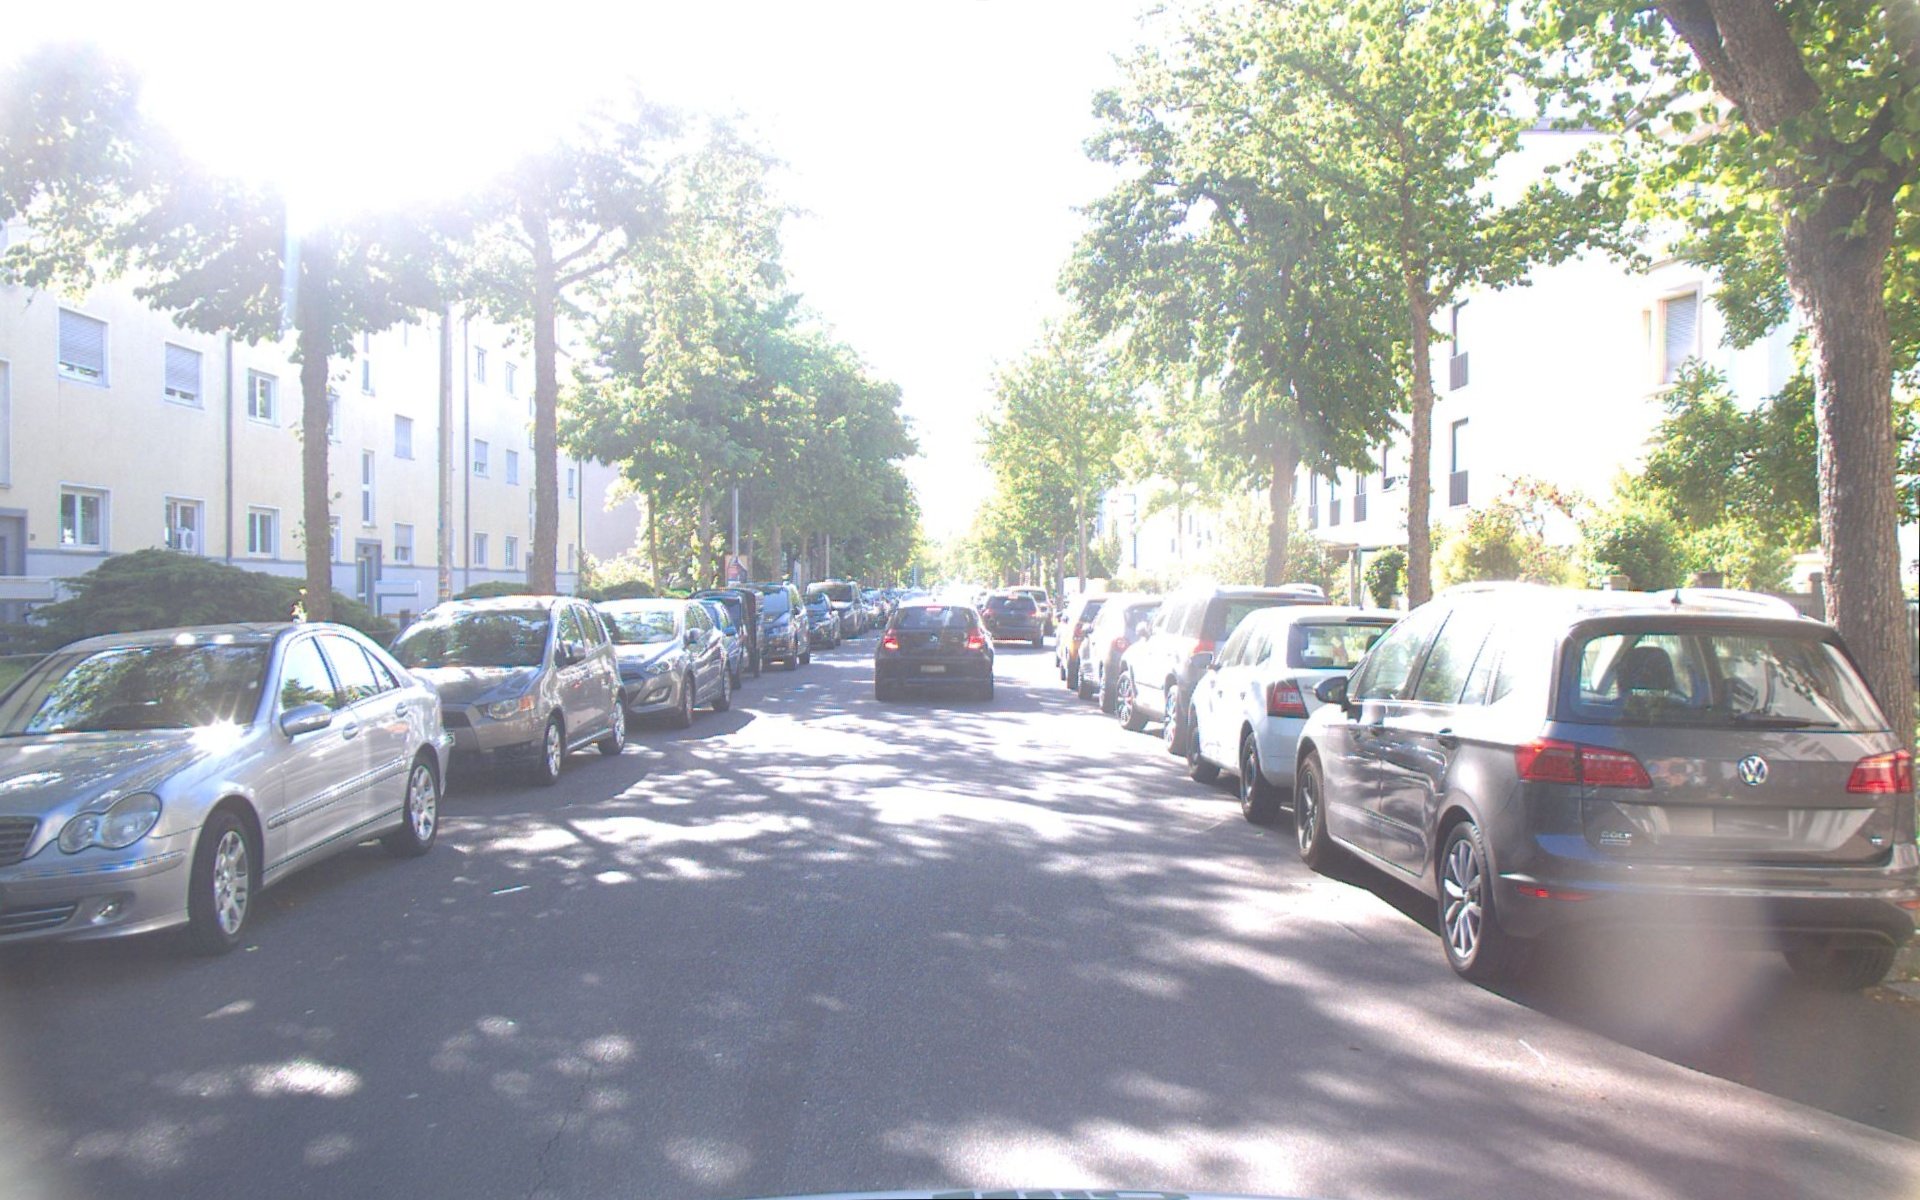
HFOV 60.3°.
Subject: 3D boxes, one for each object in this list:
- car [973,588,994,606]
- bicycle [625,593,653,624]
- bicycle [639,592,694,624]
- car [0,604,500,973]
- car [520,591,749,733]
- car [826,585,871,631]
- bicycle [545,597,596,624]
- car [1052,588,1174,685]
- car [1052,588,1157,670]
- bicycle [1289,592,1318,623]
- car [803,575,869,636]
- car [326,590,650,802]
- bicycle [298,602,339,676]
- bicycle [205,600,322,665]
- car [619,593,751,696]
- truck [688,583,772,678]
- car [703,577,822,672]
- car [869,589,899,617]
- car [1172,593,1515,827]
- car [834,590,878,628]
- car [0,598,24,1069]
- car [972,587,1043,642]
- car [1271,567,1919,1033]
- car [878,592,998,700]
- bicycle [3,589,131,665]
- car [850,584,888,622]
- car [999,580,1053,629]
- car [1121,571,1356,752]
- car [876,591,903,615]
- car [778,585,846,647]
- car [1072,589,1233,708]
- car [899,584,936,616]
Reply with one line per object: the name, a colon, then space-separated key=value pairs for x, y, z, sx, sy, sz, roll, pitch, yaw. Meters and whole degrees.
car: x=2.021 y=-0.270 z=140.854 sx=1.685 sy=1.506 sz=3.852 roll=-1 pitch=0 yaw=2
bicycle: x=-10.873 y=0.268 z=56.026 sx=0.582 sy=1.009 sz=1.928 roll=-1 pitch=0 yaw=0
bicycle: x=-11.517 y=0.298 z=64.851 sx=2.107 sy=1.230 sz=0.688 roll=-1 pitch=0 yaw=-12
car: x=-3.971 y=0.759 z=8.845 sx=1.710 sy=1.392 sz=4.674 roll=-1 pitch=0 yaw=0
car: x=-3.858 y=0.663 z=20.399 sx=1.755 sy=1.469 sz=4.689 roll=-2 pitch=0 yaw=1
car: x=-4.146 y=0.273 z=61.990 sx=1.580 sy=1.639 sz=4.227 roll=-1 pitch=0 yaw=-3
bicycle: x=-15.171 y=0.393 z=64.456 sx=1.885 sy=1.009 sz=0.595 roll=-1 pitch=0 yaw=-8
car: x=2.482 y=0.548 z=27.574 sx=1.603 sy=1.480 sz=4.099 roll=0 pitch=1 yaw=-1
car: x=2.744 y=0.510 z=32.142 sx=1.665 sy=1.474 sz=4.082 roll=-1 pitch=0 yaw=0
bicycle: x=12.099 y=0.250 z=58.259 sx=0.535 sy=1.073 sz=1.779 roll=-1 pitch=0 yaw=-3
car: x=-4.187 y=0.155 z=56.376 sx=1.789 sy=1.938 sz=5.142 roll=-2 pitch=0 yaw=0
car: x=-4.008 y=0.722 z=14.782 sx=1.587 sy=1.542 sz=4.269 roll=-2 pitch=0 yaw=0
bicycle: x=-10.134 y=0.599 z=26.108 sx=0.479 sy=1.100 sz=1.831 roll=2 pitch=-1 yaw=-24
bicycle: x=-12.102 y=0.561 z=28.762 sx=1.803 sy=1.100 sz=0.486 roll=0 pitch=0 yaw=-4
car: x=-4.126 y=0.621 z=25.240 sx=1.490 sy=1.419 sz=3.726 roll=0 pitch=0 yaw=-2
truck: x=-4.044 y=0.505 z=29.266 sx=1.061 sy=1.605 sz=2.432 roll=0 pitch=0 yaw=2
car: x=-3.961 y=0.435 z=33.898 sx=1.812 sy=1.710 sz=4.976 roll=-3 pitch=1 yaw=-1
car: x=-4.343 y=0.166 z=95.057 sx=1.579 sy=1.570 sz=3.865 roll=-1 pitch=0 yaw=-1
car: x=2.734 y=0.692 z=12.751 sx=1.596 sy=1.450 sz=4.368 roll=-1 pitch=0 yaw=0
car: x=-4.211 y=0.340 z=67.298 sx=1.579 sy=1.452 sz=4.057 roll=-1 pitch=0 yaw=-1
car: x=-3.841 y=0.761 z=3.369 sx=1.631 sy=1.484 sz=3.932 roll=0 pitch=1 yaw=0
car: x=1.291 y=0.384 z=46.388 sx=1.617 sy=1.450 sz=3.998 roll=-1 pitch=1 yaw=-4
car: x=2.874 y=0.702 z=8.157 sx=1.650 sy=1.615 sz=4.534 roll=2 pitch=0 yaw=-2
car: x=-0.325 y=0.619 z=24.125 sx=1.616 sy=1.421 sz=3.411 roll=-1 pitch=1 yaw=-1
bicycle: x=-14.543 y=0.440 z=26.958 sx=1.801 sy=1.166 sz=0.487 roll=2 pitch=-1 yaw=2
car: x=-4.264 y=0.112 z=77.832 sx=1.579 sy=1.708 sz=4.233 roll=-1 pitch=0 yaw=-1
car: x=2.338 y=0.153 z=59.521 sx=1.810 sy=1.659 sz=4.411 roll=1 pitch=0 yaw=1
car: x=2.797 y=0.557 z=17.395 sx=1.616 sy=1.684 sz=3.844 roll=0 pitch=0 yaw=-4
car: x=-4.449 y=0.175 z=104.513 sx=1.579 sy=1.416 sz=3.865 roll=-1 pitch=0 yaw=-1
car: x=-4.052 y=0.405 z=45.854 sx=1.477 sy=1.575 sz=4.777 roll=-2 pitch=0 yaw=-1
car: x=2.533 y=0.597 z=22.512 sx=1.616 sy=1.453 sz=3.611 roll=-1 pitch=0 yaw=-2
car: x=-1.987 y=-0.004 z=78.275 sx=1.474 sy=1.451 sz=3.179 roll=-1 pitch=1 yaw=3
